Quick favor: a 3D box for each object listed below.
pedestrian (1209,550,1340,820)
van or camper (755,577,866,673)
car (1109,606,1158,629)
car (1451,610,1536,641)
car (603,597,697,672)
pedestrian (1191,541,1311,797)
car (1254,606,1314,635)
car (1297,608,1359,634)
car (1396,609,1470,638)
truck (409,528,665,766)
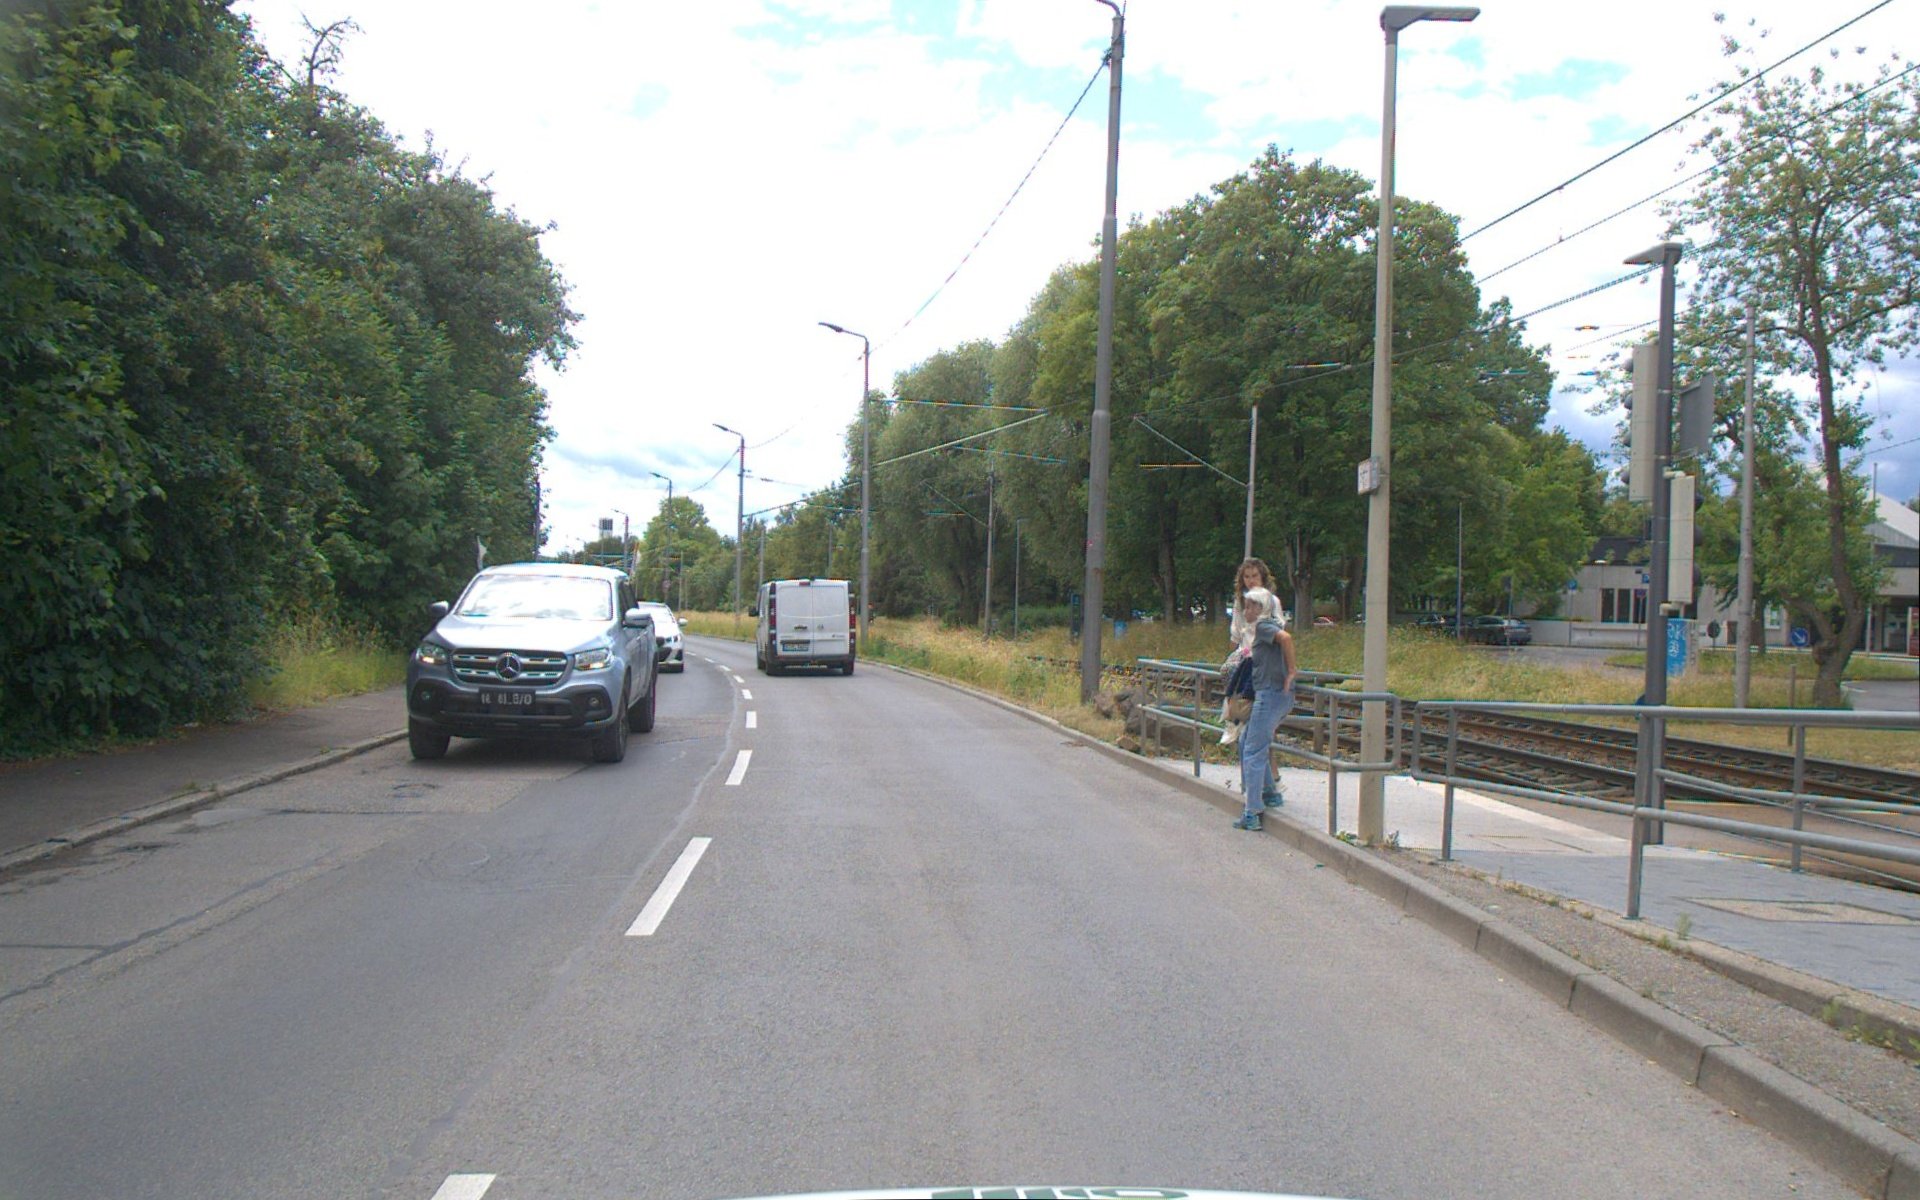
[{"bbox_3d":[2.132,0.571,11.259,0.468,1.759,0.793,3,-3,-27],"label":"pedestrian"},{"bbox_3d":[-3.282,0.511,35.602,1.908,1.930,4.272,0,-1,-12],"label":"van or camper"},{"bbox_3d":[15.074,1.511,144.092,1.982,1.844,3.941,2,-1,-41],"label":"car"},{"bbox_3d":[26.446,1.260,82.098,1.961,1.468,4.328,2,-1,-16],"label":"car"},{"bbox_3d":[-6.978,0.735,37.605,1.894,1.548,4.649,-1,0,-9],"label":"car"},{"bbox_3d":[2.198,0.522,12.516,0.650,1.873,0.592,3,-3,-27],"label":"pedestrian"},{"bbox_3d":[20.340,1.277,103.974,1.961,1.730,4.211,2,-1,-15],"label":"car"},{"bbox_3d":[21.847,1.244,98.380,1.961,1.468,3.983,2,-1,-16],"label":"car"},{"bbox_3d":[24.947,1.235,87.317,1.961,1.468,3.983,2,-1,-16],"label":"car"},{"bbox_3d":[-4.057,0.407,16.631,1.813,2.000,4.951,1,0,-7],"label":"truck"}]
